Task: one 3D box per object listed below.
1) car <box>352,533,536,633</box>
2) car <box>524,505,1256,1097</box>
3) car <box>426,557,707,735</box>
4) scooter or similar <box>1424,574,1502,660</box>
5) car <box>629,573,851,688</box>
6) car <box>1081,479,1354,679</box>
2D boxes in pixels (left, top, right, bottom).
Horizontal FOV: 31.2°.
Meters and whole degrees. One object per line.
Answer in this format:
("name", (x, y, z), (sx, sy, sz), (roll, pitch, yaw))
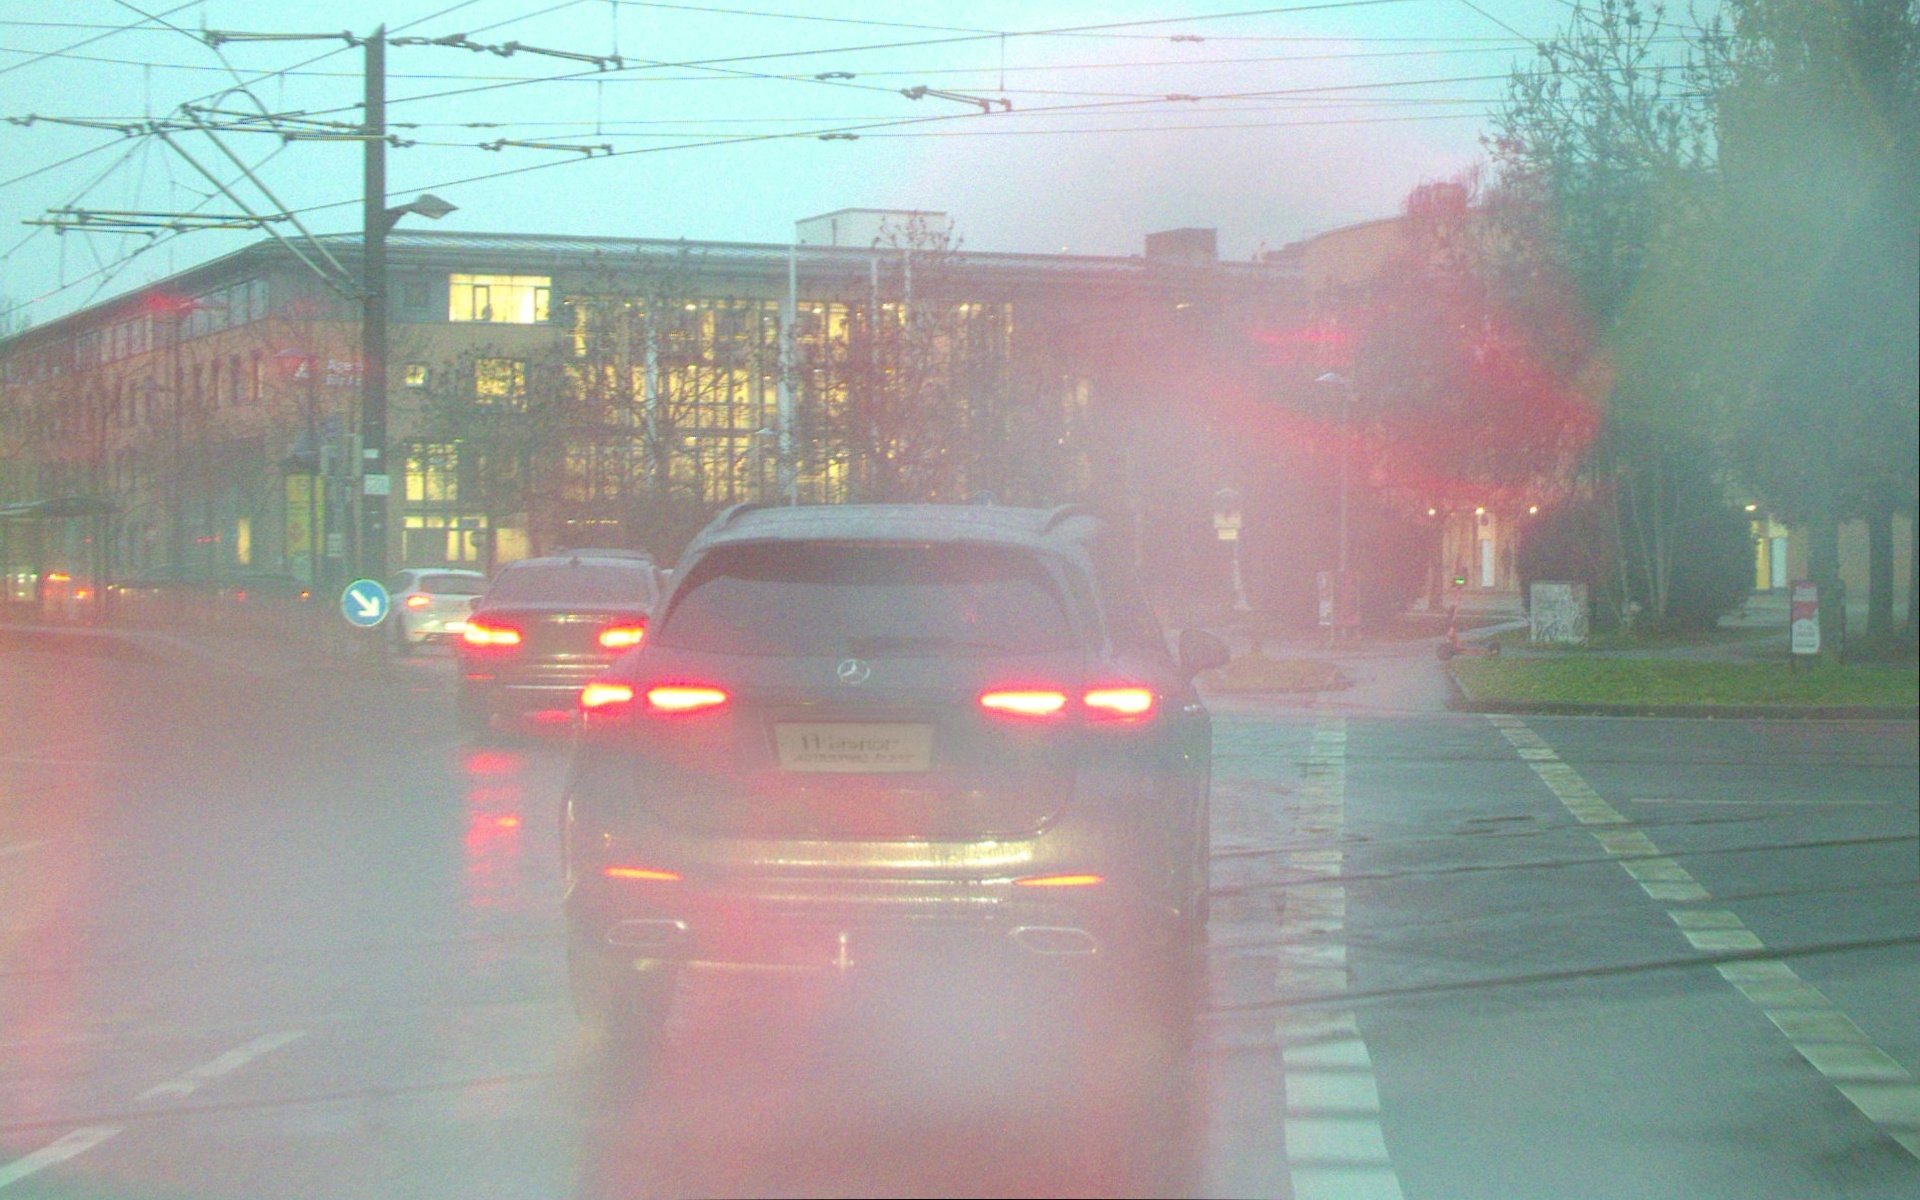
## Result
("car", (-8.653, -0.307, 57.397), (1.993, 1.612, 4.001), (-1, 1, -25))
("car", (-0.171, 0.516, 11.379), (1.991, 1.610, 4.000), (0, 1, 1))
("car", (-3.271, 0.342, 29.310), (1.993, 1.393, 4.000), (0, 1, -1))
("scooter or similar", (7.334, 0.245, 50.107), (1.142, 1.227, 0.487), (-1, 1, -40))
("car", (-3.329, 0.416, 51.325), (1.993, 1.612, 4.001), (-1, 1, -25))
("car", (2.505, -0.220, 32.489), (1.995, 1.759, 3.998), (0, 1, 13))
